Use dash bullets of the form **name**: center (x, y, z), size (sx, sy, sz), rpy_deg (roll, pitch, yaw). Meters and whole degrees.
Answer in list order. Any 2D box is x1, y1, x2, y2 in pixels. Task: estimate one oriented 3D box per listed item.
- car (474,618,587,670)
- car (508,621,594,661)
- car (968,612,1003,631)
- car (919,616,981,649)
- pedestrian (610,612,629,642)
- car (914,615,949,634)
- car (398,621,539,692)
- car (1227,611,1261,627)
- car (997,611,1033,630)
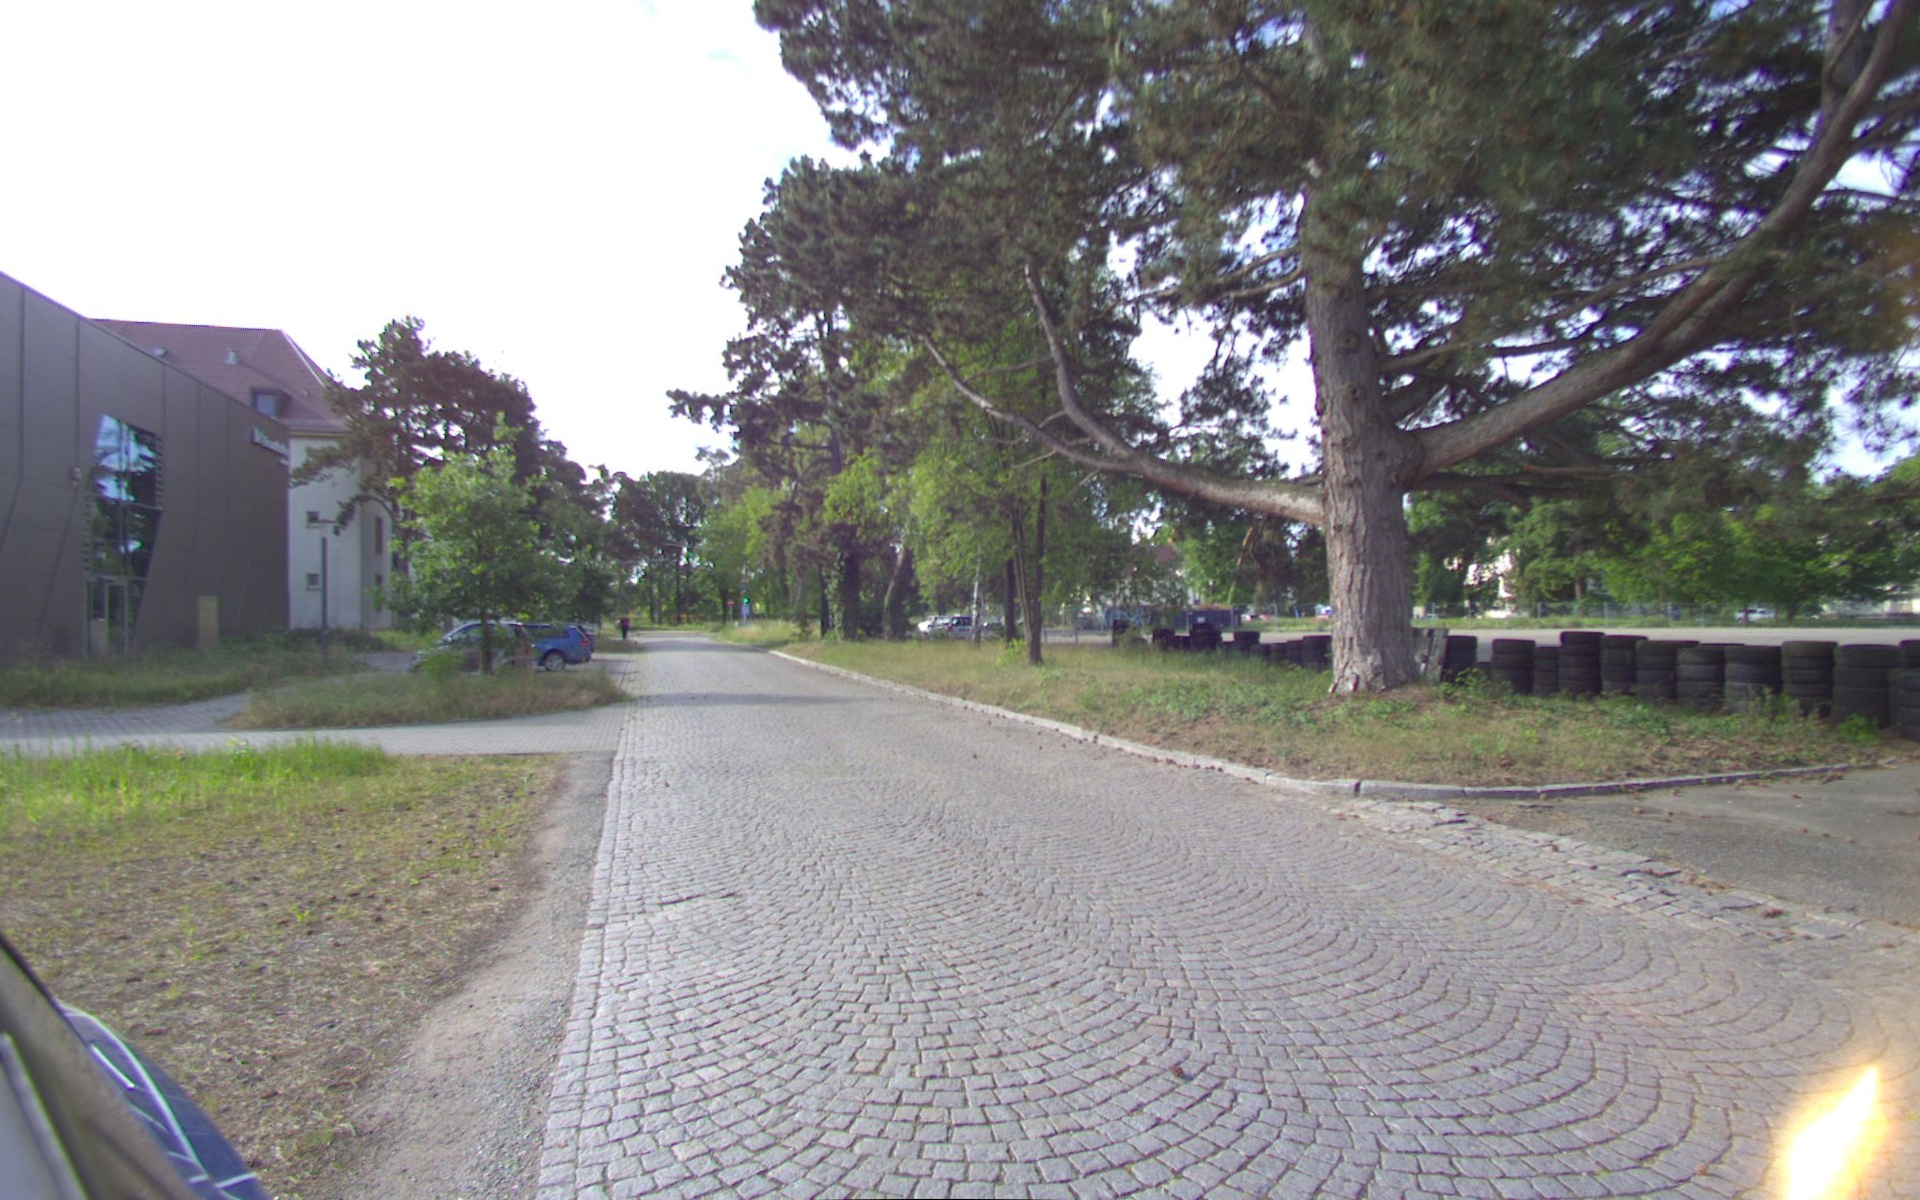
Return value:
- **car**: center (-13.047, 1.343, 30.858), size (3.040, 1.468, 1.497), rpy_deg (2, -2, -22)
- **car**: center (-16.055, 1.589, 39.738), size (3.040, 1.461, 1.497), rpy_deg (0, -1, -23)
- **car**: center (2.259, 1.903, 90.537), size (1.966, 1.630, 4.012), rpy_deg (-1, -1, -17)
- **car**: center (-0.539, 1.588, 49.827), size (1.860, 1.553, 4.012), rpy_deg (0, -1, -19)
- **pedestrian**: center (-21.525, 1.706, 63.937), size (0.943, 1.858, 0.958), rpy_deg (0, -1, -31)
- **car**: center (-2.506, 2.115, 88.505), size (1.966, 1.630, 4.012), rpy_deg (-1, -1, -17)
- **car**: center (-11.433, 1.288, 23.667), size (2.723, 1.561, 1.429), rpy_deg (-1, -1, -13)
- **car**: center (31.171, 2.068, 111.130), size (1.967, 1.763, 4.010), rpy_deg (-1, -1, -12)
- **car**: center (4.934, 1.874, 91.675), size (1.966, 1.630, 4.012), rpy_deg (-1, -1, -17)
